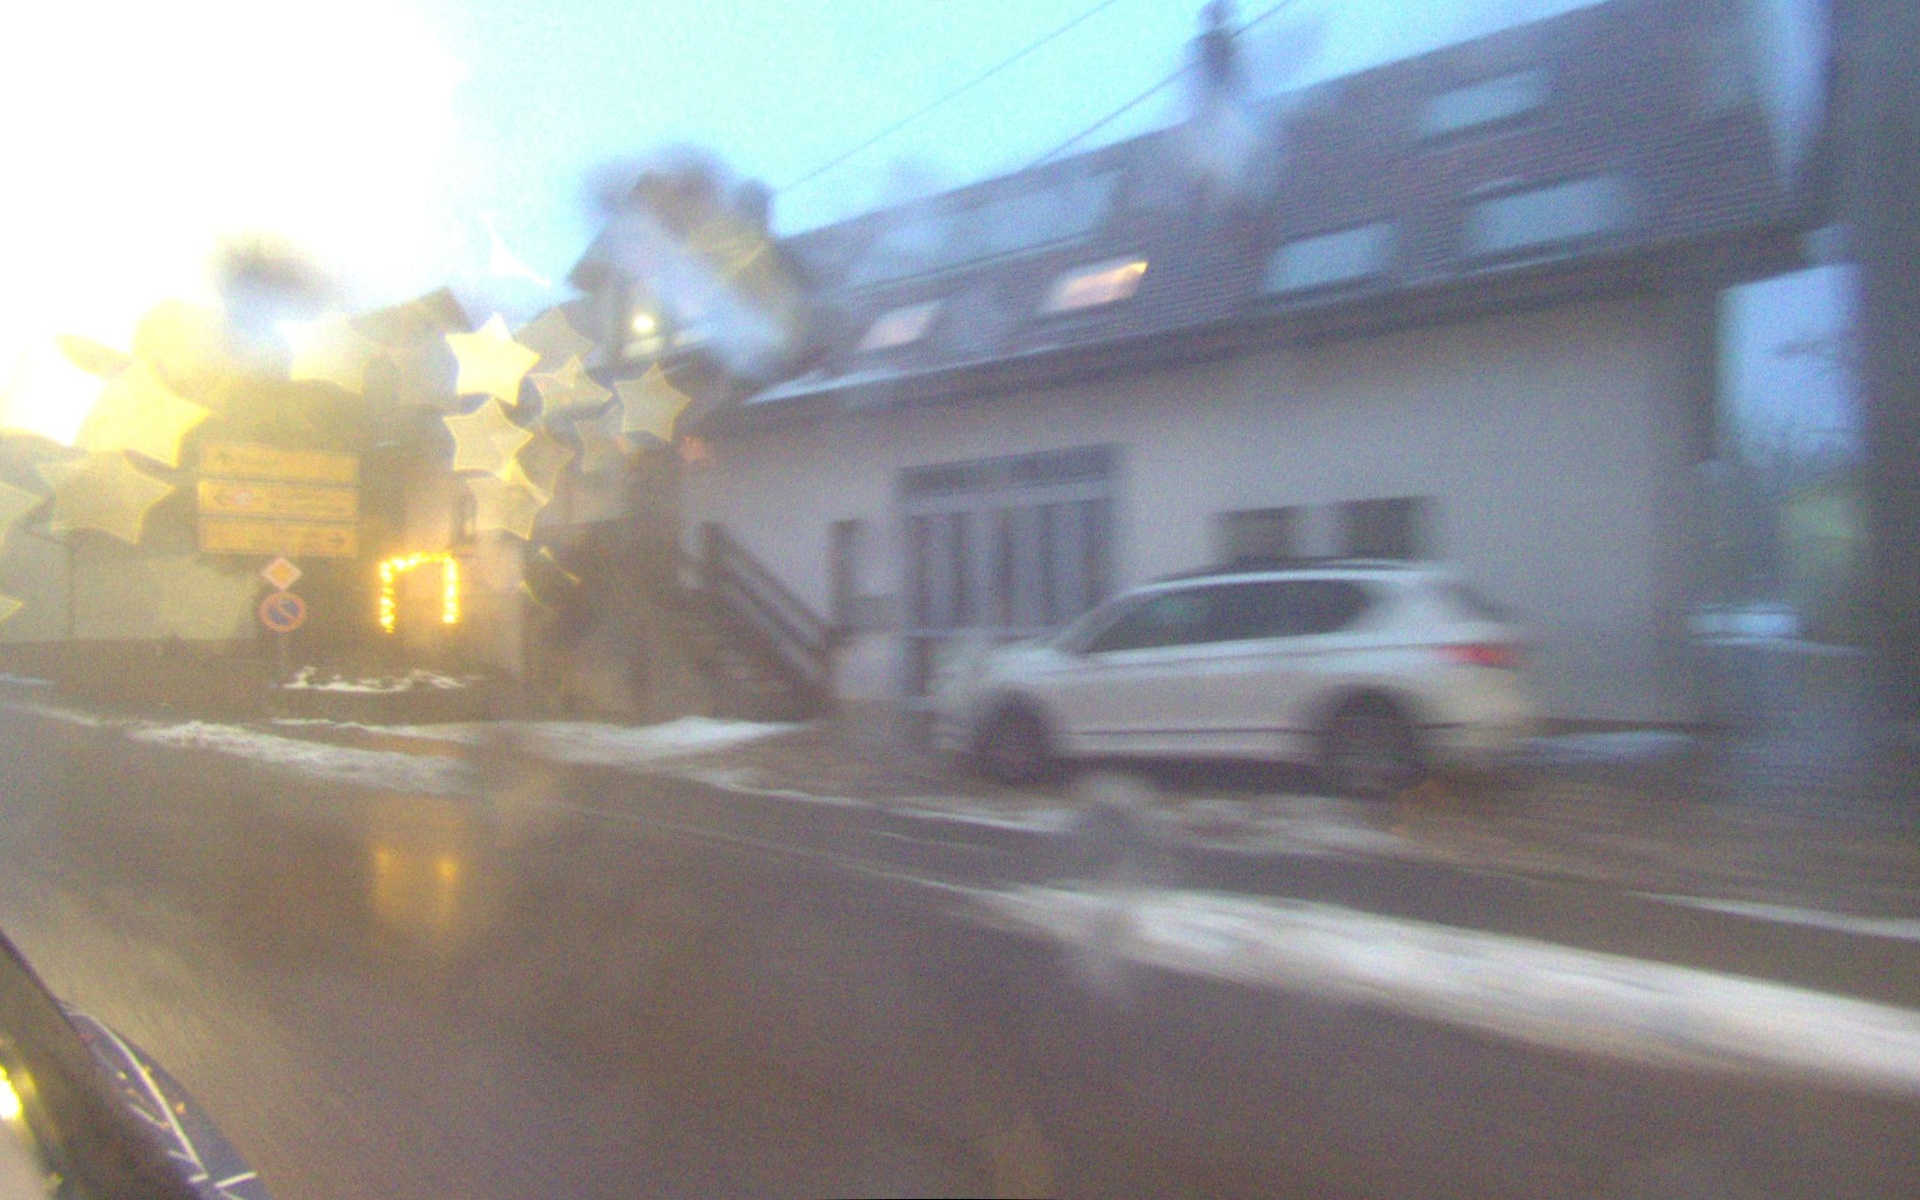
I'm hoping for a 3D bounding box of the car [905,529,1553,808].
[{"bbox_3d":[2.027,0.490,8.202,4.617,1.749,1.754,-3,2,28],"label":"car"}]
